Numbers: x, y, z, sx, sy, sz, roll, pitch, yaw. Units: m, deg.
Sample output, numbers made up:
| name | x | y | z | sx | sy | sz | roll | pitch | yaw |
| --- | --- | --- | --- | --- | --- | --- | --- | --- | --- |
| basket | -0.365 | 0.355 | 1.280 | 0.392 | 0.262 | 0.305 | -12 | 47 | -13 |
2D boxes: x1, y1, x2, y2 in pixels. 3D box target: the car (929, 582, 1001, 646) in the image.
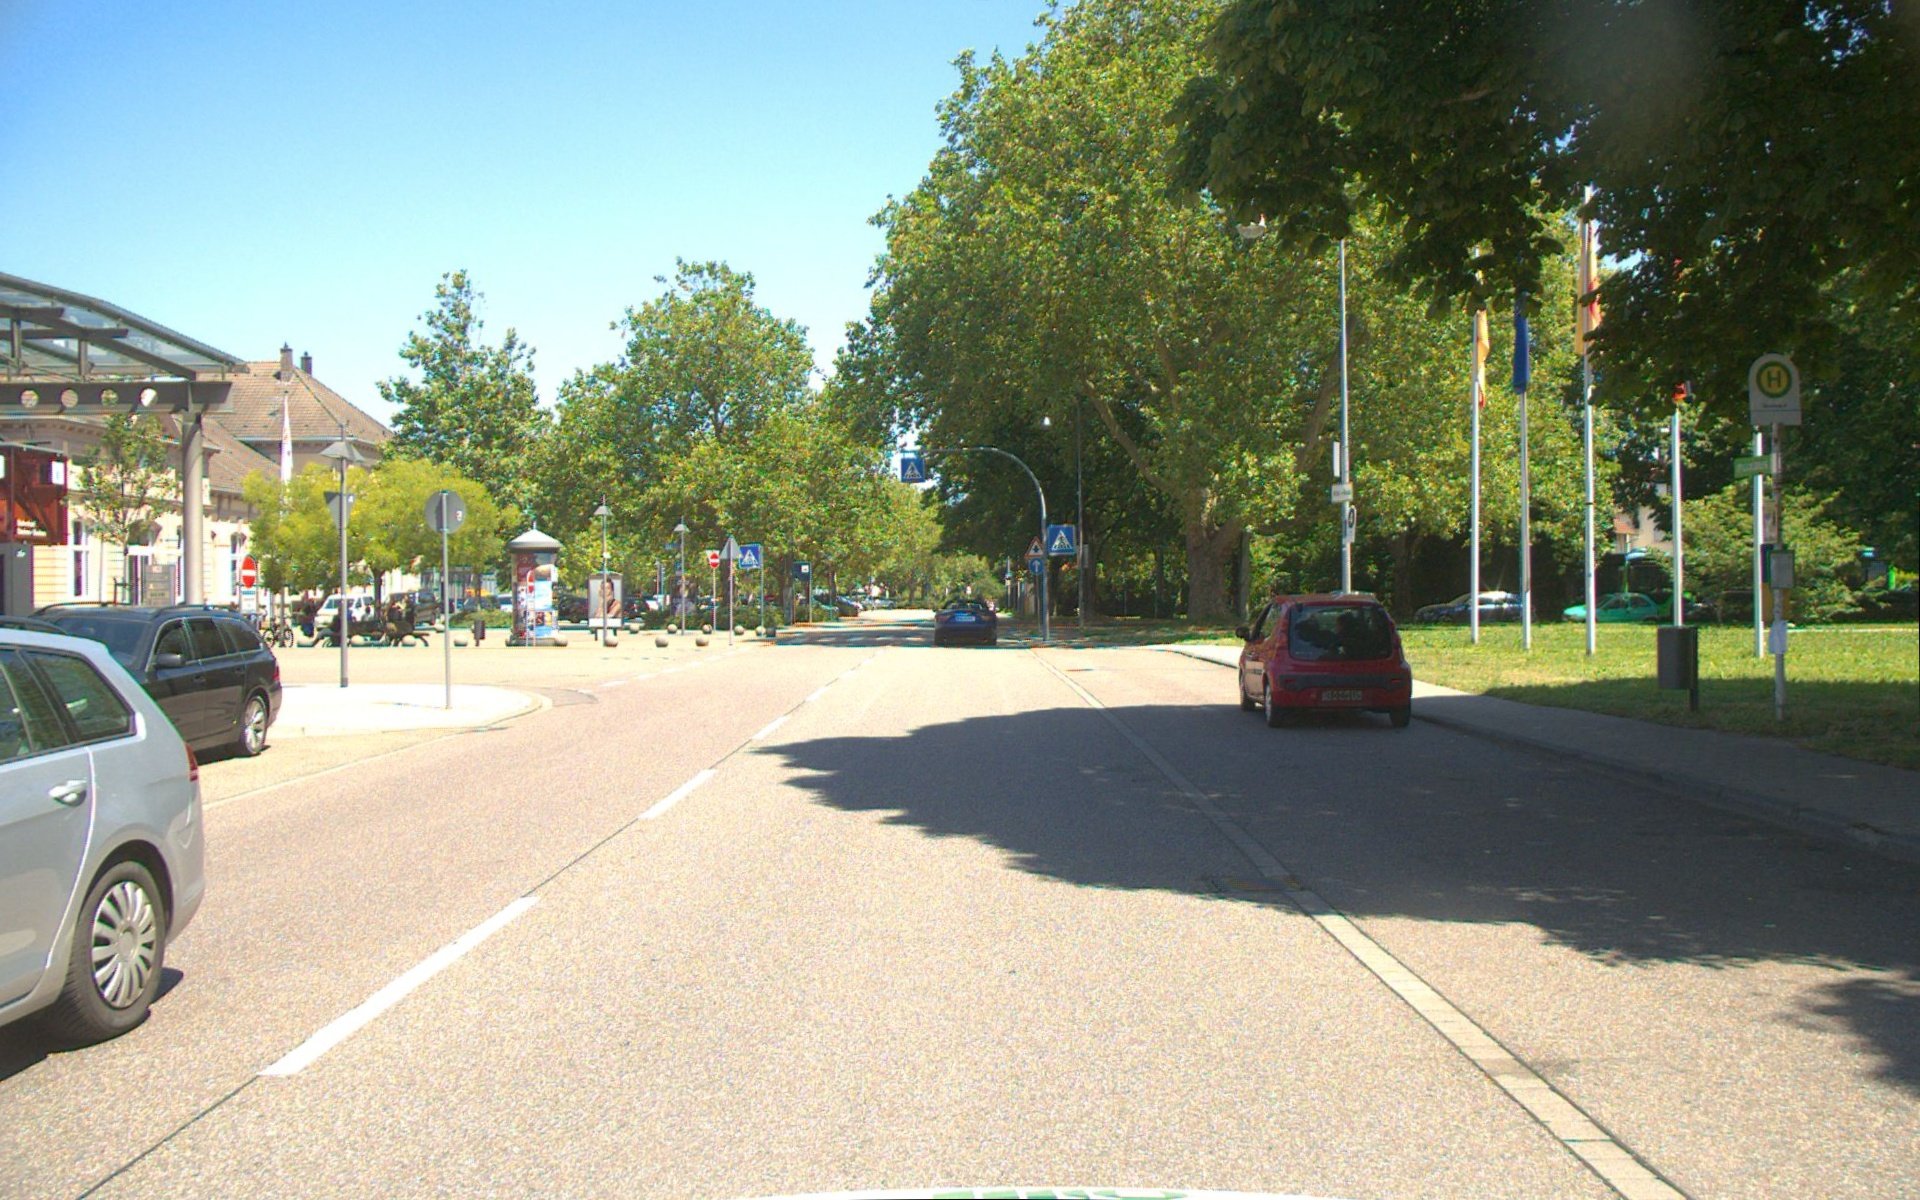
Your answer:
| name | x | y | z | sx | sy | sz | roll | pitch | yaw |
| --- | --- | --- | --- | --- | --- | --- | --- | --- | --- |
| car | 0.157 | 0.411 | 50.149 | 2.081 | 1.881 | 4.048 | 0 | 0 | 0 |

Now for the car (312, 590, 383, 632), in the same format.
| name | x | y | z | sx | sy | sz | roll | pitch | yaw |
| --- | --- | --- | --- | --- | --- | --- | --- | --- | --- |
| car | -30.304 | 0.514 | 81.972 | 1.715 | 1.951 | 4.775 | -1 | 1 | 0 |

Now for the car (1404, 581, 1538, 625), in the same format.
| name | x | y | z | sx | sy | sz | roll | pitch | yaw |
| --- | --- | --- | --- | --- | --- | --- | --- | --- | --- |
| car | 20.242 | 0.104 | 65.704 | 4.722 | 1.635 | 2.001 | -1 | 0 | 4 |

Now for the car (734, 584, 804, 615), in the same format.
| name | x | y | z | sx | sy | sz | roll | pitch | yaw |
| --- | --- | --- | --- | --- | --- | --- | --- | --- | --- |
| car | -11.650 | -0.042 | 100.763 | 3.926 | 1.812 | 1.990 | 0 | 0 | -19 |

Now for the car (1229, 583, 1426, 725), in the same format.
| name | x | y | z | sx | sy | sz | roll | pitch | yaw |
| --- | --- | --- | --- | --- | --- | --- | --- | --- | --- |
| car | 4.272 | 0.587 | 19.744 | 1.683 | 1.504 | 3.707 | -1 | 0 | 3 |

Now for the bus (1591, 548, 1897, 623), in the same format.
| name | x | y | z | sx | sy | sz | roll | pitch | yaw |
| --- | --- | --- | --- | --- | --- | --- | --- | --- | --- |
| bus | 33.782 | -0.618 | 71.507 | 12.125 | 3.030 | 2.268 | -1 | -1 | 0 |

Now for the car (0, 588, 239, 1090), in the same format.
| name | x | y | z | sx | sy | sz | roll | pitch | yaw |
| --- | --- | --- | --- | --- | --- | --- | --- | --- | --- |
| car | -3.740 | 0.747 | 4.374 | 1.778 | 1.469 | 4.158 | -2 | 1 | 0 |

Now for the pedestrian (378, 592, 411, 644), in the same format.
| name | x | y | z | sx | sy | sz | roll | pitch | yaw |
| --- | --- | --- | --- | --- | --- | --- | --- | --- | --- |
| pedestrian | -18.438 | 0.590 | 53.935 | 0.744 | 1.688 | 0.721 | -2 | -2 | 17 |

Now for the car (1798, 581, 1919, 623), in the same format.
| name | x | y | z | sx | sy | sz | roll | pitch | yaw |
| --- | --- | --- | --- | --- | --- | --- | --- | --- | --- |
| car | 35.711 | 0.100 | 65.508 | 4.012 | 1.637 | 2.000 | 0 | -1 | 1 |

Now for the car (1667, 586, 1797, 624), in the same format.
| name | x | y | z | sx | sy | sz | roll | pitch | yaw |
| --- | --- | --- | --- | --- | --- | --- | --- | --- | --- |
| car | 30.649 | 0.209 | 65.723 | 4.248 | 1.441 | 2.000 | 0 | -1 | 0 |

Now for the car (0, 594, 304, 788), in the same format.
| name | x | y | z | sx | sy | sz | roll | pitch | yaw |
| --- | --- | --- | --- | --- | --- | --- | --- | --- | --- |
| car | -7.824 | 0.722 | 15.294 | 1.684 | 1.504 | 4.784 | -1 | 0 | -1 |

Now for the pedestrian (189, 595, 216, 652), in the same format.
| name | x | y | z | sx | sy | sz | roll | pitch | yaw |
| --- | --- | --- | --- | --- | --- | --- | --- | --- | --- |
| pedestrian | -23.547 | 0.726 | 51.418 | 0.578 | 1.740 | 0.581 | -3 | -3 | 44 |

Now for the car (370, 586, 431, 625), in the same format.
| name | x | y | z | sx | sy | sz | roll | pitch | yaw |
| --- | --- | --- | --- | --- | --- | --- | --- | --- | --- |
| car | -30.104 | 0.279 | 89.106 | 1.953 | 2.049 | 3.999 | -1 | 0 | -1 |

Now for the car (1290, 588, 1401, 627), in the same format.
| name | x | y | z | sx | sy | sz | roll | pitch | yaw |
| --- | --- | --- | --- | --- | --- | --- | --- | --- | --- |
| car | 15.343 | 0.286 | 65.983 | 4.019 | 1.492 | 2.001 | -1 | 0 | 2 |

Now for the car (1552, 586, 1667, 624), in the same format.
| name | x | y | z | sx | sy | sz | roll | pitch | yaw |
| --- | --- | --- | --- | --- | --- | --- | --- | --- | --- |
| car | 25.787 | 0.219 | 65.761 | 3.800 | 1.479 | 2.000 | 0 | -1 | 1 |

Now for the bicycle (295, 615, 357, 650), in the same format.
| name | x | y | z | sx | sy | sz | roll | pitch | yaw |
| --- | --- | --- | --- | --- | --- | --- | --- | --- | --- |
| bicycle | -19.565 | 0.995 | 51.062 | 1.769 | 1.049 | 0.485 | 0 | 0 | -24 |
